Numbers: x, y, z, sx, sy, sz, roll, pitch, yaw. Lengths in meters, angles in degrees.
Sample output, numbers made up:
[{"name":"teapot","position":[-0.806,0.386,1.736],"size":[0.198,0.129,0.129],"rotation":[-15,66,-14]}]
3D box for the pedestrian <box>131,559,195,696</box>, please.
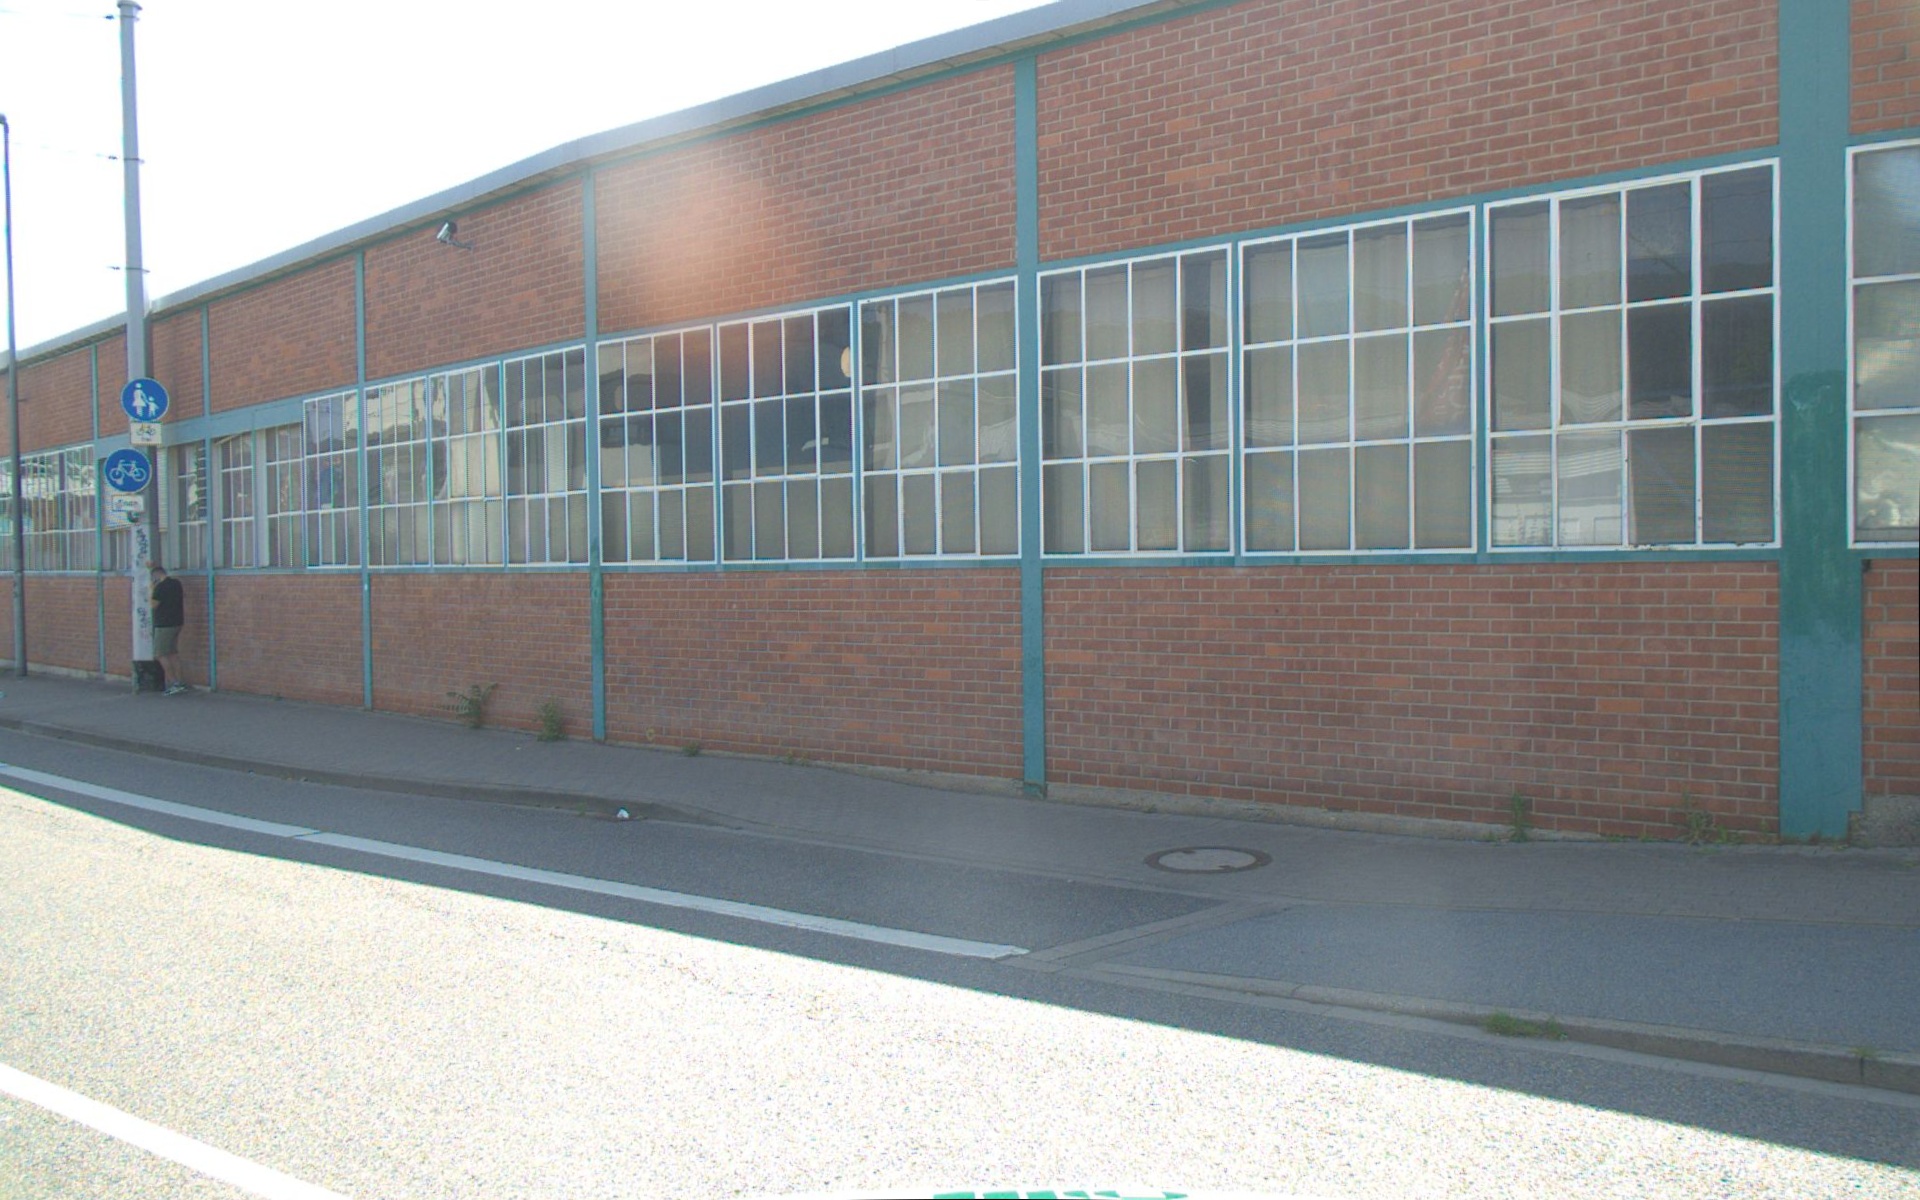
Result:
[{"name":"pedestrian","position":[-10.690,0.359,22.189],"size":[0.680,1.795,0.442],"rotation":[-2,3,-43]}]
